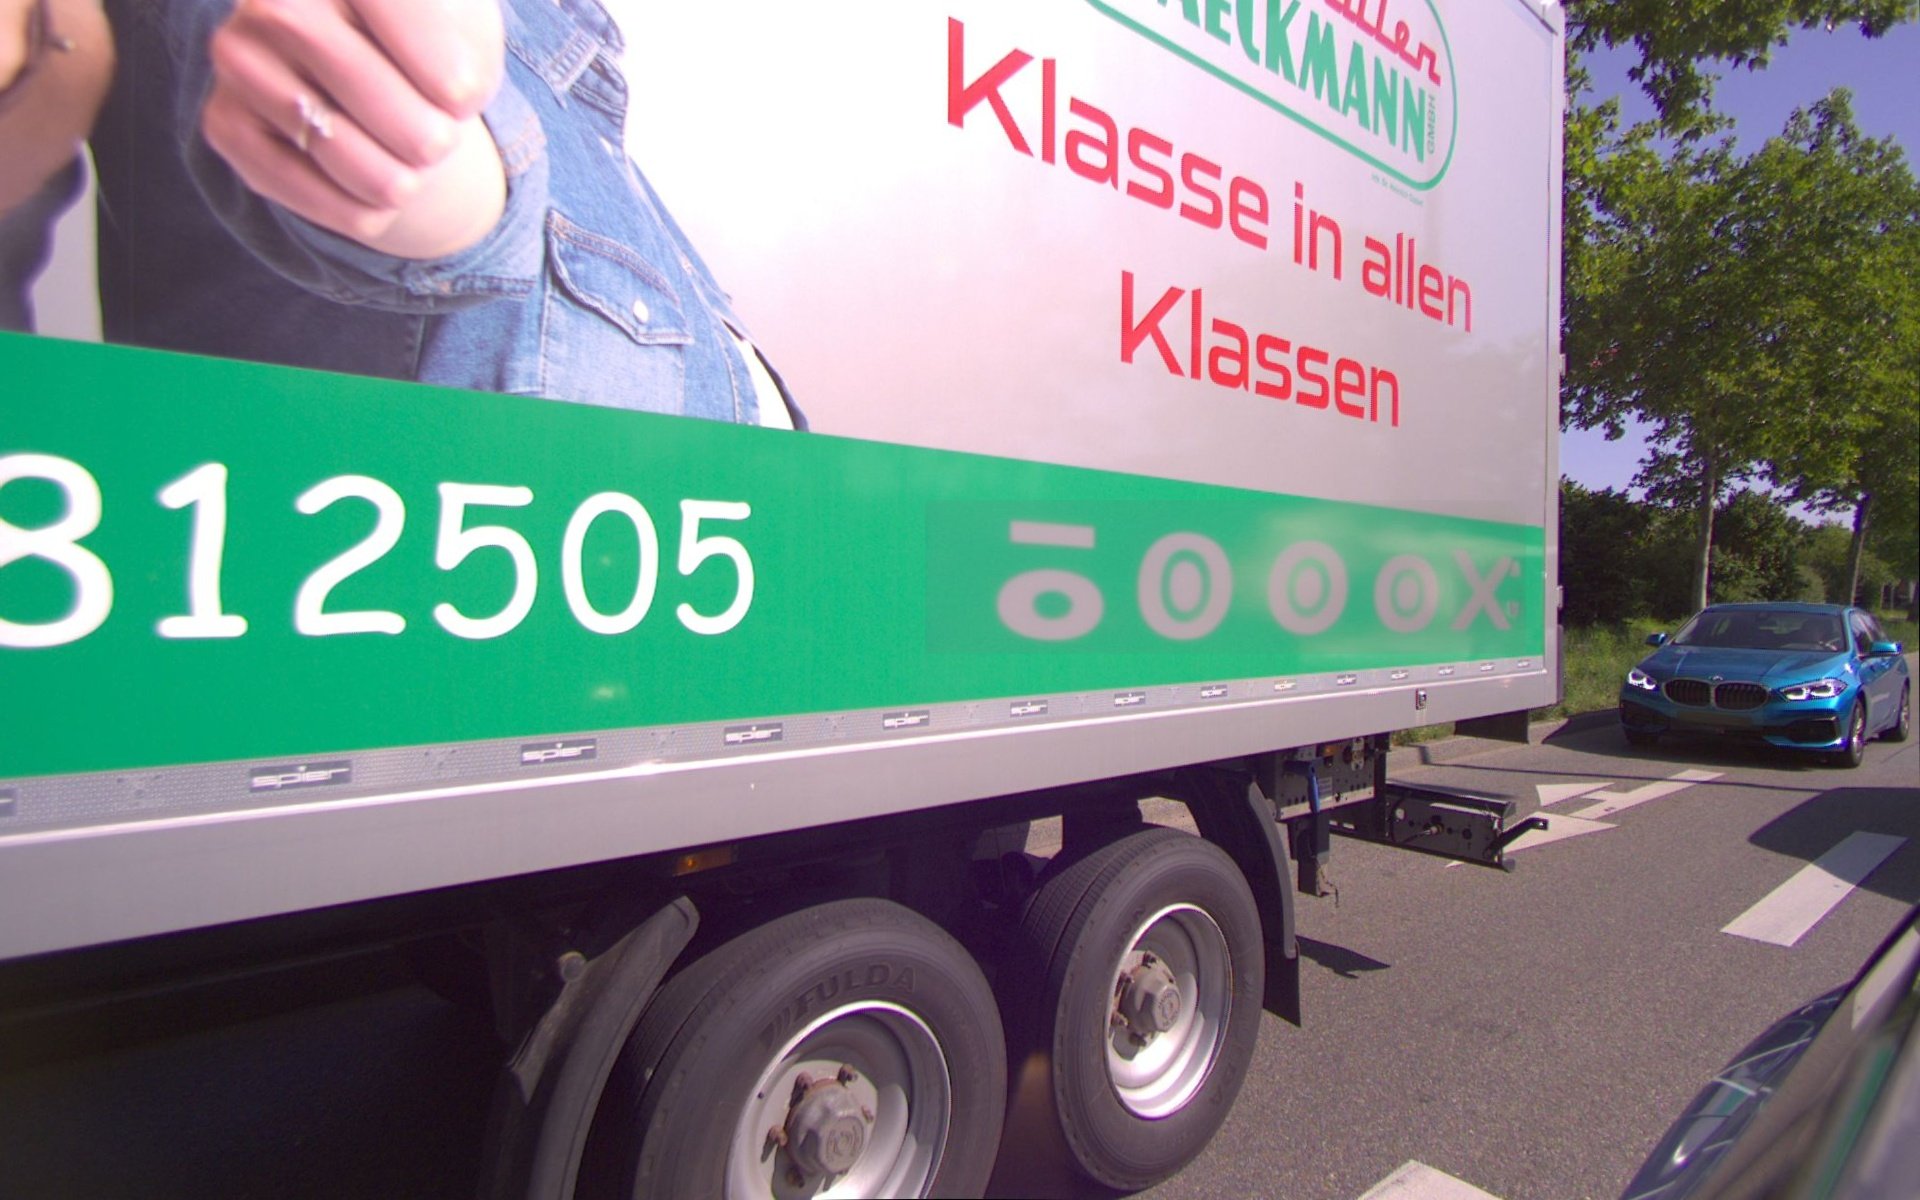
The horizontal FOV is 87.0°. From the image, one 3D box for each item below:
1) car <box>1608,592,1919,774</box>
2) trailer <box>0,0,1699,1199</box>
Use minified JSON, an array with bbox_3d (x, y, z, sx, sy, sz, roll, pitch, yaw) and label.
[{"bbox_3d":[8.373,0.665,10.333,4.058,1.437,1.871,0,2,-41],"label":"car"},{"bbox_3d":[-1.050,-0.686,2.506,7.596,3.924,2.743,-1,2,-39],"label":"trailer"}]
